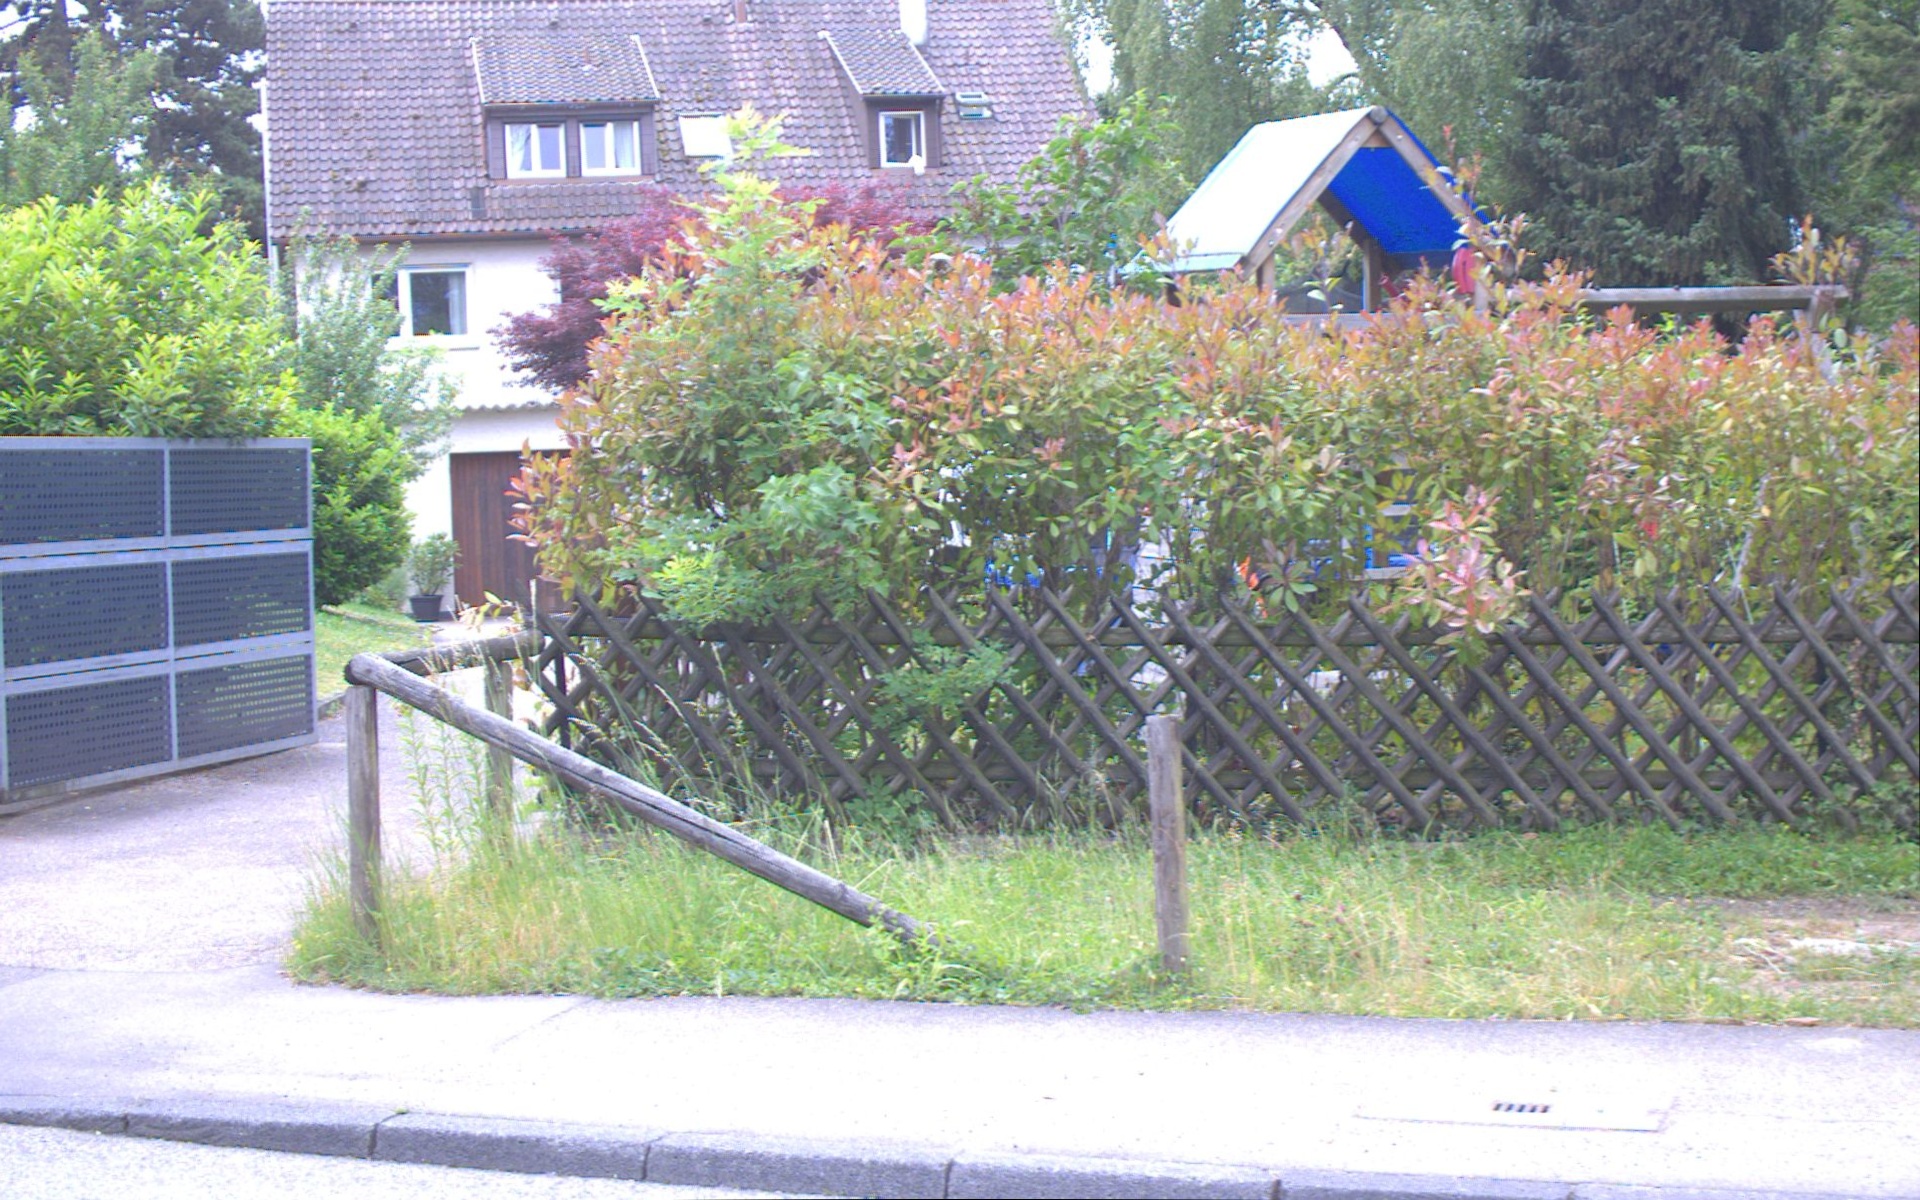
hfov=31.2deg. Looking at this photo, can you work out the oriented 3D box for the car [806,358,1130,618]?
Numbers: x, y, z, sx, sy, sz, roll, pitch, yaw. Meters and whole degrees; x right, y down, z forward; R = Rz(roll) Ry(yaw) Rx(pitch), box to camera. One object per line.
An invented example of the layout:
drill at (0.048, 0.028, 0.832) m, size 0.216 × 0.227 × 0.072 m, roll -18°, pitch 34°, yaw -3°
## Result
car at (-0.016, -0.951, 30.583) m, size 1.993 × 2.006 × 4.285 m, roll -5°, pitch 1°, yaw -10°
